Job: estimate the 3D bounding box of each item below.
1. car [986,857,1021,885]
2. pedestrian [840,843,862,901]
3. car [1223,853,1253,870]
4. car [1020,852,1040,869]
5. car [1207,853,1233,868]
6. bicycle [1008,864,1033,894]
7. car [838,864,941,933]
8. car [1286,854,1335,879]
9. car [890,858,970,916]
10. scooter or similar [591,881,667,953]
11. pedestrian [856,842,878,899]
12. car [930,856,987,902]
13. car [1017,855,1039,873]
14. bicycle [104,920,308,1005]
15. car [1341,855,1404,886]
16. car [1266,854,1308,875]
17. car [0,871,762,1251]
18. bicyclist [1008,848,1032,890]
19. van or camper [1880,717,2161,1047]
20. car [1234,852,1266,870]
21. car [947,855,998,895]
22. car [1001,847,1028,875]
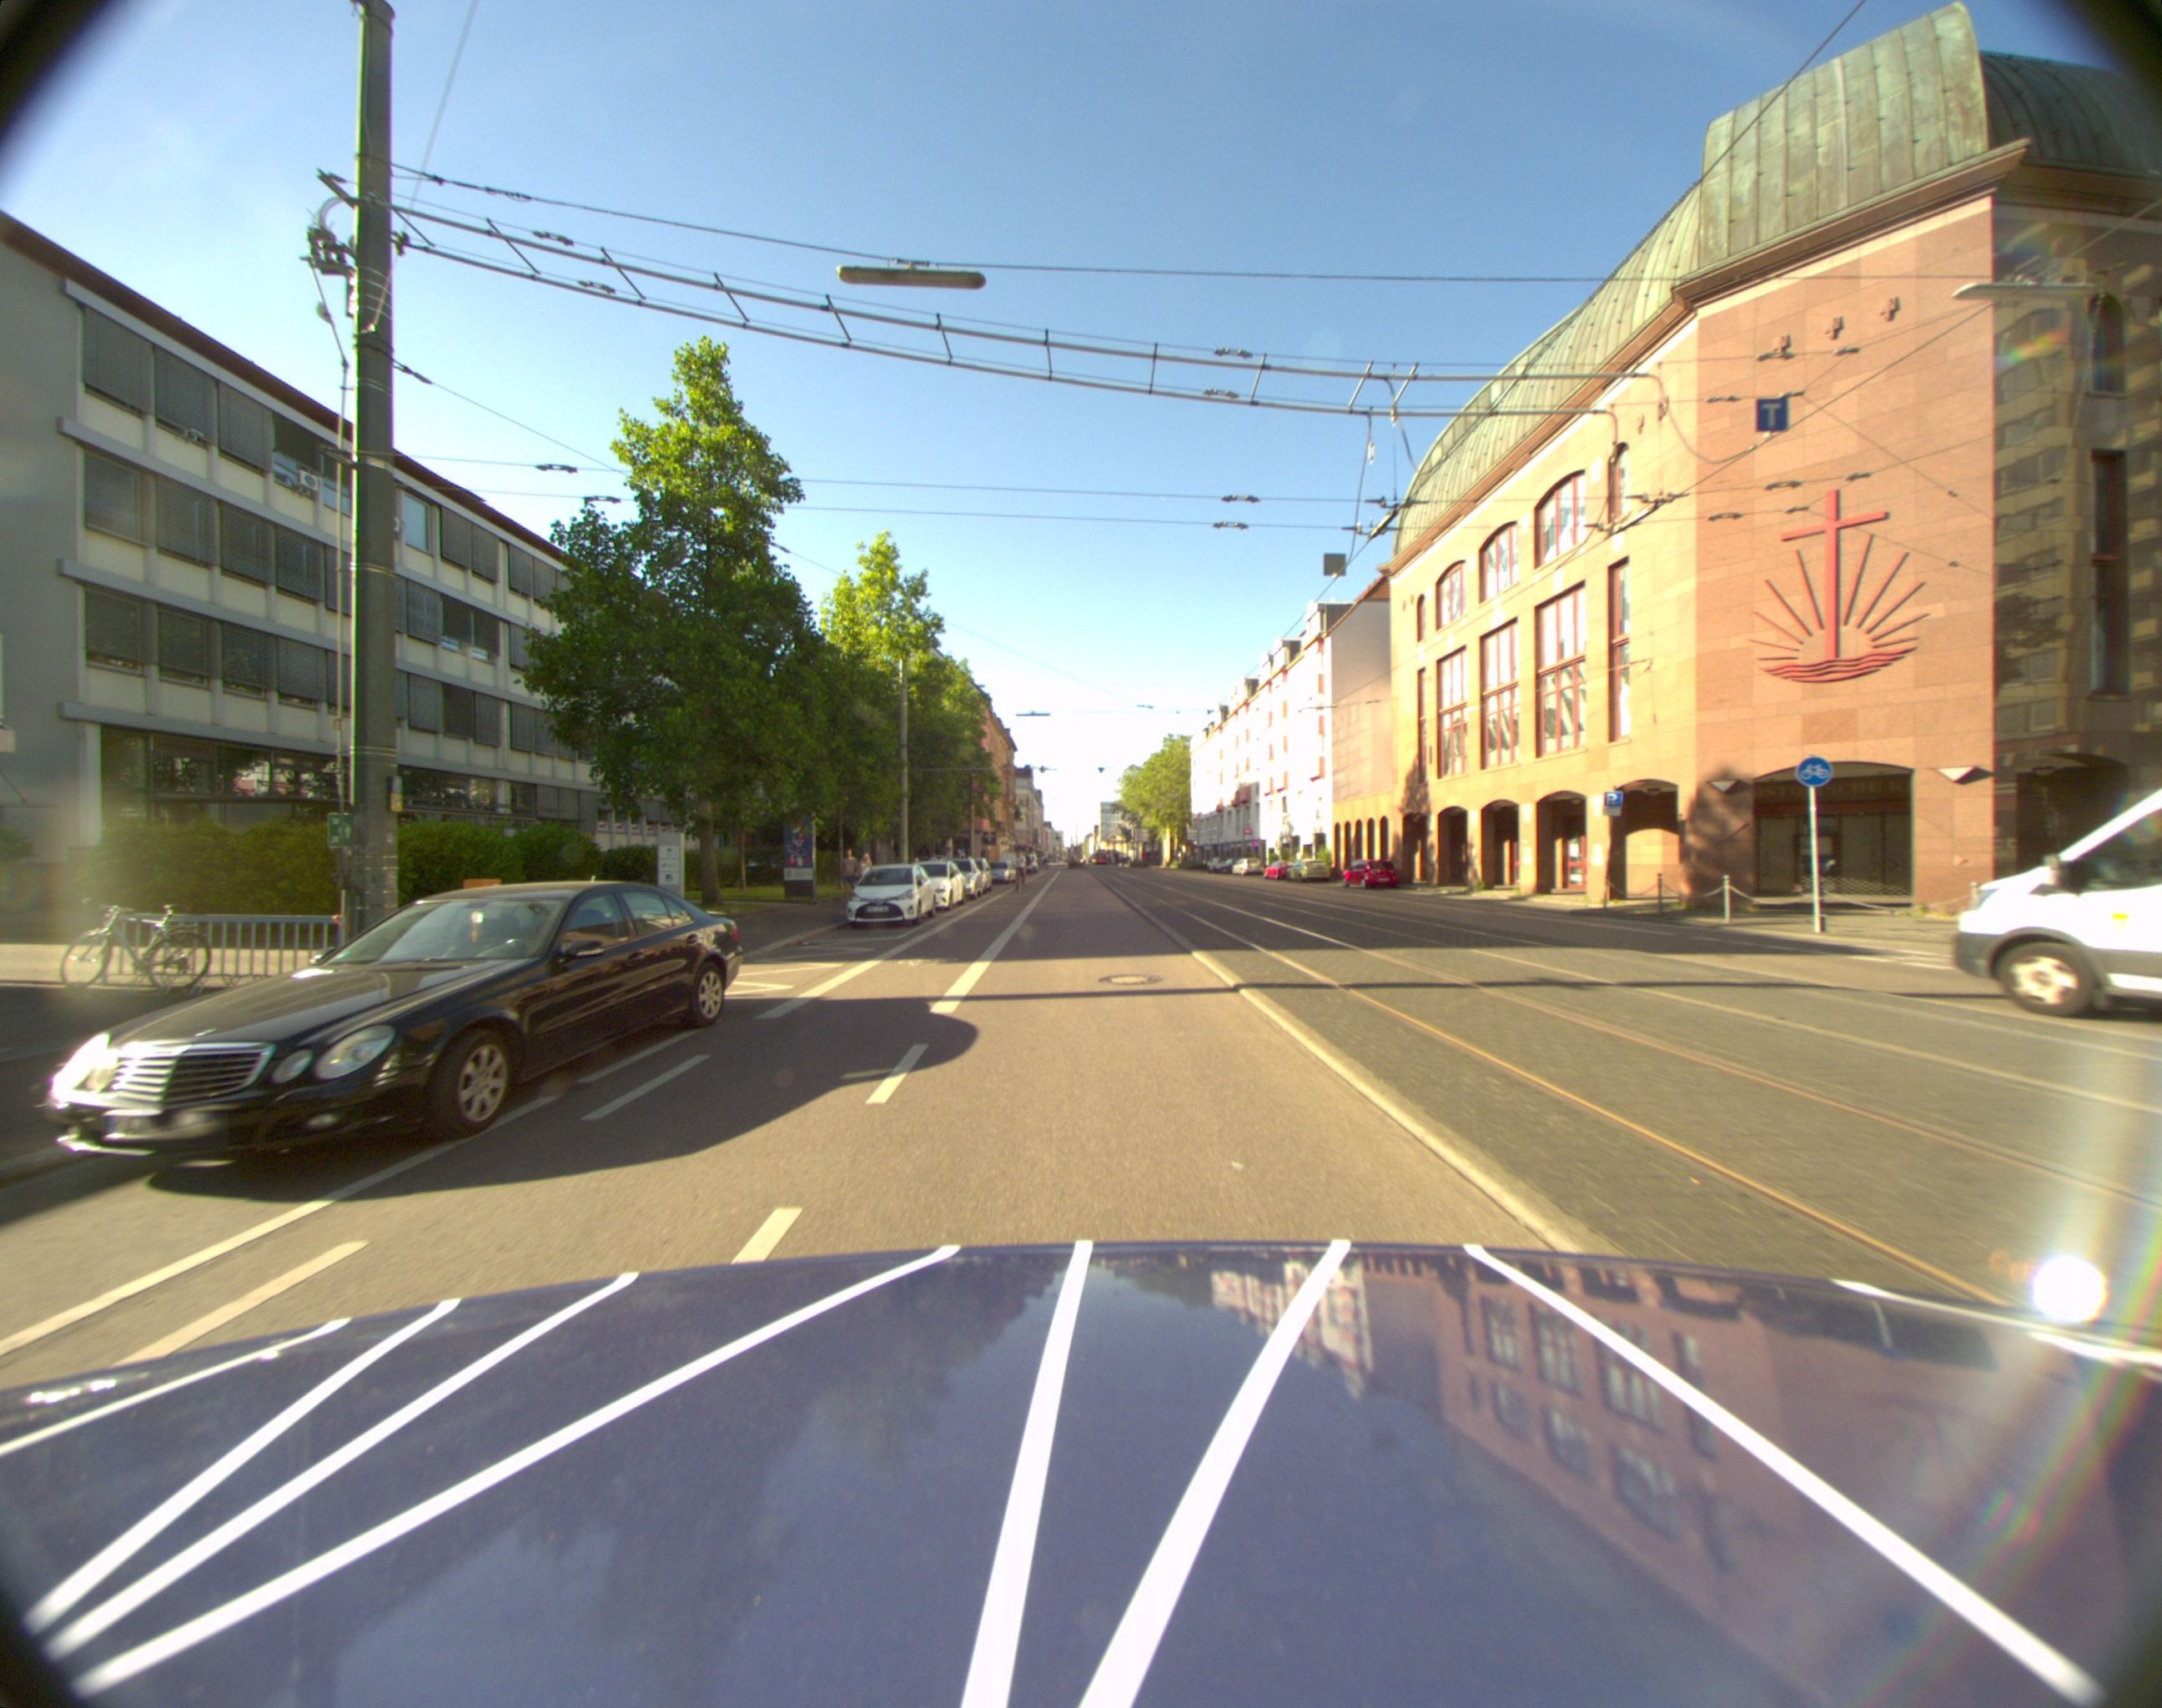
[{"bbox_3d":[-4.726,1.001,46.970,1.733,1.475,4.114,-2,2,0],"label":"car"},{"bbox_3d":[-8.158,0.628,26.952,0.508,2.002,0.574,-2,2,0],"label":"pedestrian"},{"bbox_3d":[14.239,0.675,69.101,1.856,1.445,3.853,-1,0,0],"label":"car"},{"bbox_3d":[-5.097,0.608,76.960,1.733,1.475,4.114,-2,2,-1],"label":"car"},{"bbox_3d":[14.014,0.658,76.631,1.856,1.445,3.853,-1,0,0],"label":"car"},{"bbox_3d":[-2.678,1.088,33.749,0.889,1.155,2.078,-2,1,0],"label":"bicycle"},{"bbox_3d":[-4.803,1.052,19.572,1.733,1.474,3.863,-2,0,-2],"label":"car"},{"bbox_3d":[14.423,0.750,47.965,1.856,1.445,3.853,-1,0,0],"label":"car"},{"bbox_3d":[-4.794,0.996,24.632,1.733,1.568,4.114,-2,1,-1],"label":"car"},{"bbox_3d":[-8.461,1.151,14.264,0.582,1.203,1.313,3,1,1],"label":"scooter or similar"},{"bbox_3d":[-7.593,0.583,26.975,0.508,2.002,0.574,-2,2,0],"label":"pedestrian"},{"bbox_3d":[-4.799,0.922,30.275,1.733,1.586,4.114,-2,1,-3],"label":"car"},{"bbox_3d":[-4.896,0.911,70.789,1.733,1.475,4.251,-2,2,-1],"label":"car"},{"bbox_3d":[-10.180,1.262,8.870,1.814,0.917,0.406,1,2,-3],"label":"bicycle"},{"bbox_3d":[14.612,0.776,38.307,1.753,1.445,3.470,-1,0,-2],"label":"car"},{"bbox_3d":[14.316,0.728,52.894,1.856,1.346,3.853,-1,0,0],"label":"car"},{"bbox_3d":[-4.443,1.028,6.009,1.733,1.475,4.927,-2,2,-1],"label":"car"},{"bbox_3d":[-2.699,0.657,33.687,0.895,1.755,1.030,-2,2,0],"label":"bicyclist"},{"bbox_3d":[9.982,0.239,4.897,2.042,2.723,7.018,0,0,-2],"label":"van or camper"},{"bbox_3d":[14.246,0.583,64.264,1.856,1.445,3.853,-1,0,0],"label":"car"},{"bbox_3d":[-4.944,0.924,35.134,1.733,1.542,4.114,-2,2,-1],"label":"car"},{"bbox_3d":[-5.307,0.499,60.957,1.733,2.038,4.114,-2,2,-1],"label":"car"}]
